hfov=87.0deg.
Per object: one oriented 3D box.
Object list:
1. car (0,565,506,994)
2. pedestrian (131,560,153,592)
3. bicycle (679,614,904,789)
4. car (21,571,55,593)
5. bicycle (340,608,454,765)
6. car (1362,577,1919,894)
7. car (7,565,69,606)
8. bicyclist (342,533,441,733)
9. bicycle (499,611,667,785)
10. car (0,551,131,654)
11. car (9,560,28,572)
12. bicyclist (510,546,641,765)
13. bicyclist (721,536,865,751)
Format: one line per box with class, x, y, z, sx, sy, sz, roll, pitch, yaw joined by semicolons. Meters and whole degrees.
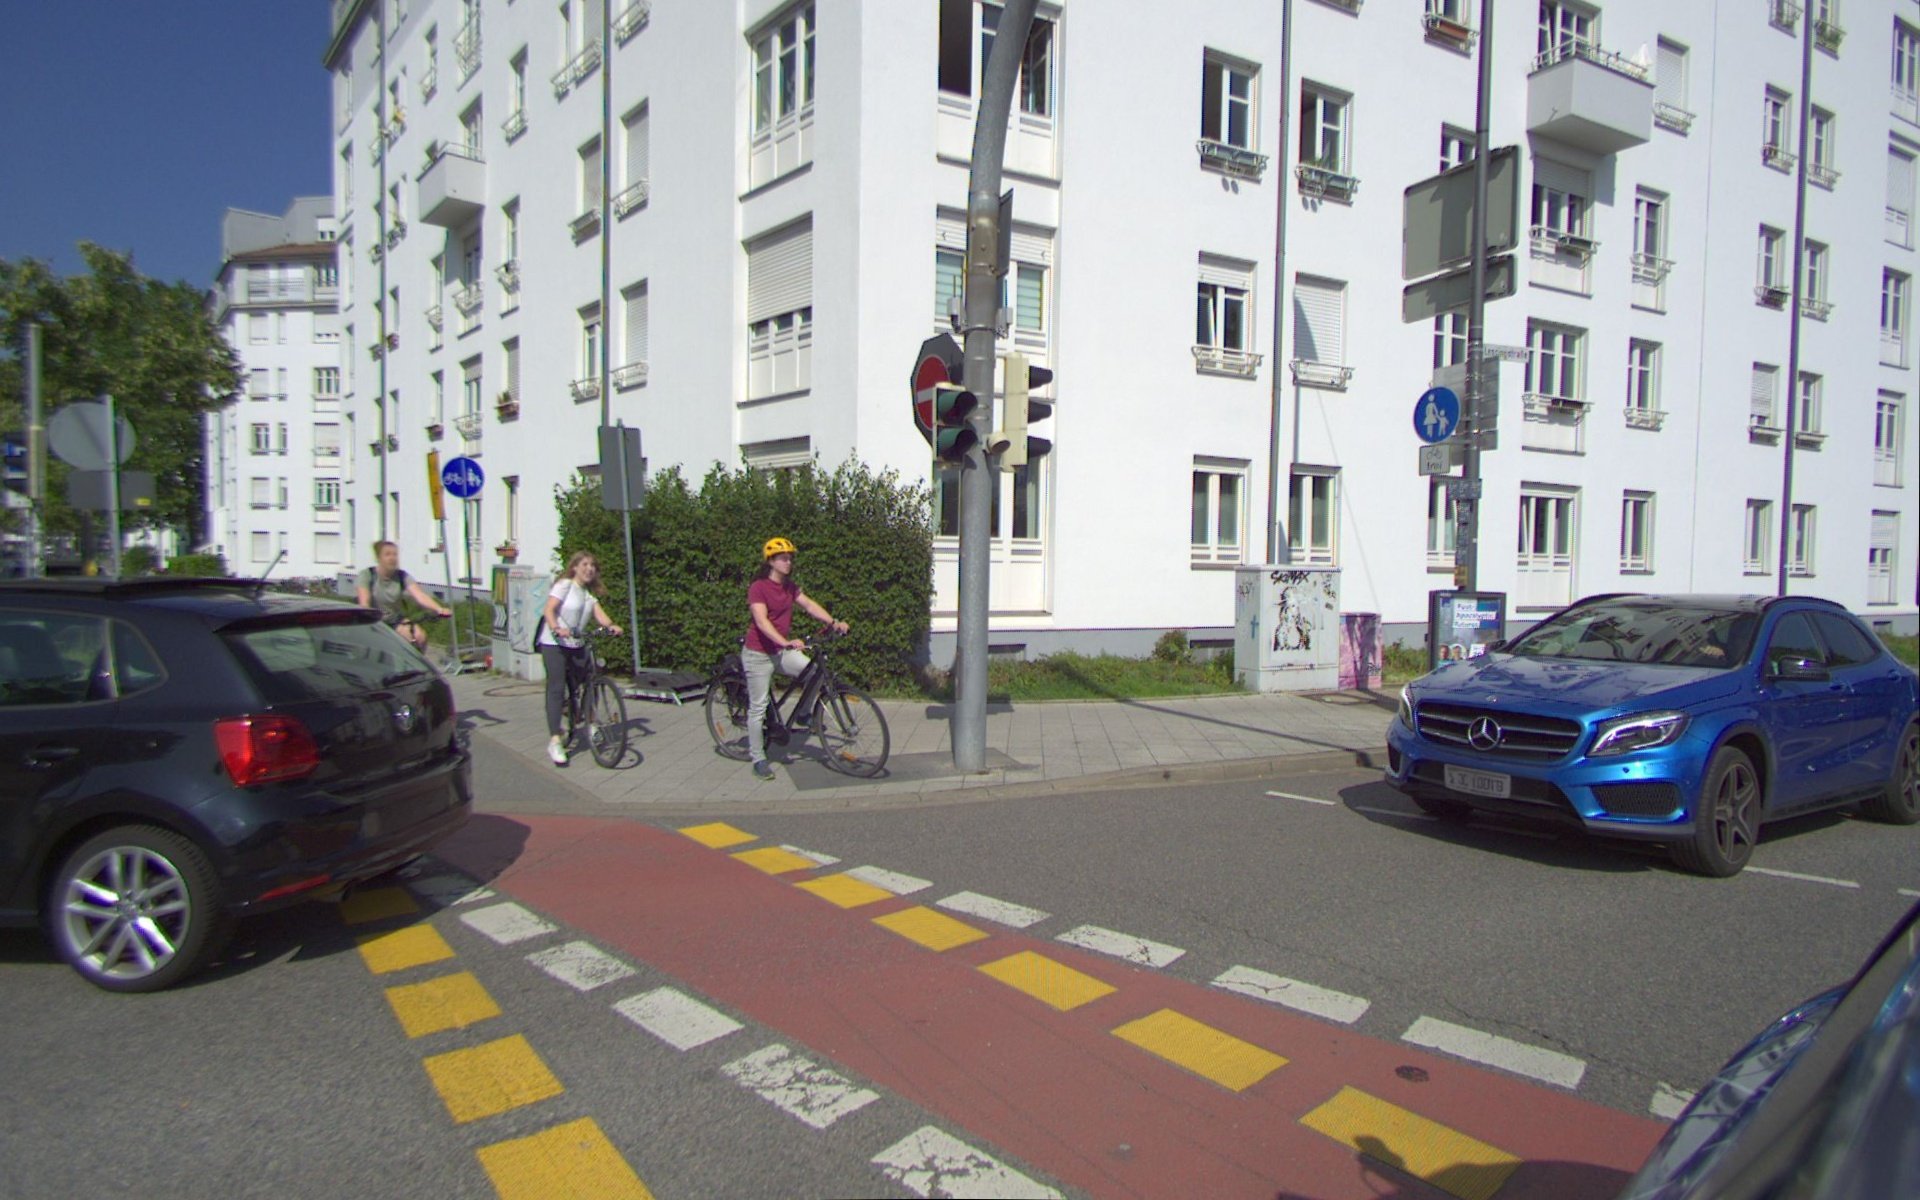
car;-4.124;0.607;4.394;3.592;1.511;1.595;1;1;0
pedestrian;-42.620;-1.249;52.738;0.843;1.686;0.909;0;1;-37
bicycle;-1.298;0.693;7.601;1.804;1.113;0.596;1;2;37
car;-65.631;-1.284;72.077;1.711;1.503;3.733;-2;2;-42
bicycle;-4.860;0.676;8.685;0.607;1.113;1.786;-1;3;-37
car;4.822;0.639;6.651;4.460;1.499;1.678;0;1;-31
car;-36.089;-0.590;39.641;1.711;1.503;3.733;-2;2;-42
bicyclist;-4.898;0.249;8.705;0.612;1.609;0.917;-1;2;-37
bicycle;-3.031;0.705;8.036;0.618;1.112;1.784;-5;5;-41
car;-16.171;-0.026;18.231;1.711;1.657;3.733;-2;2;-42
car;-132.517;-4.824;142.417;1.767;1.703;3.735;-2;2;-40
bicyclist;-3.060;0.389;8.036;0.613;1.597;0.916;-5;5;-41
bicyclist;-1.248;0.287;7.552;0.912;1.496;0.590;1;2;37
